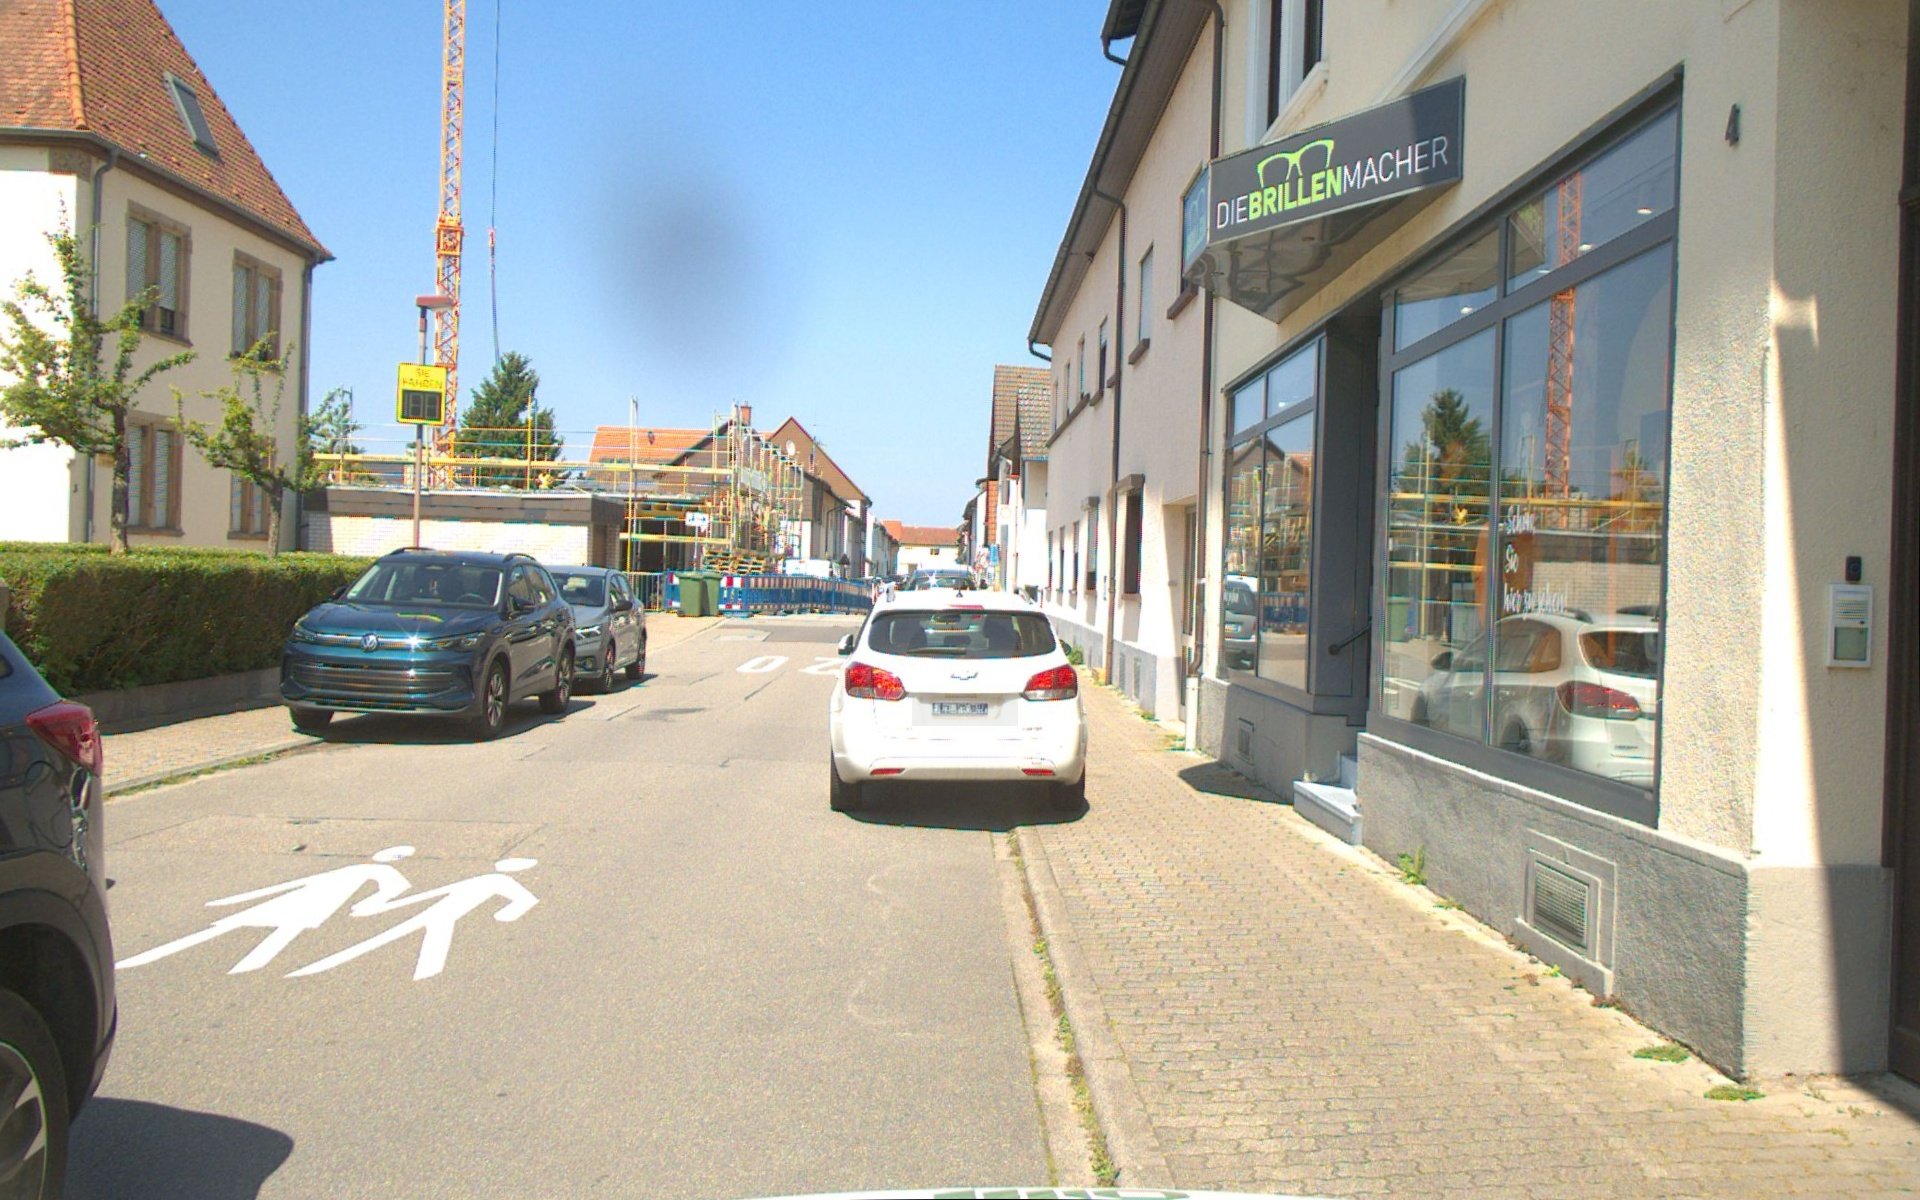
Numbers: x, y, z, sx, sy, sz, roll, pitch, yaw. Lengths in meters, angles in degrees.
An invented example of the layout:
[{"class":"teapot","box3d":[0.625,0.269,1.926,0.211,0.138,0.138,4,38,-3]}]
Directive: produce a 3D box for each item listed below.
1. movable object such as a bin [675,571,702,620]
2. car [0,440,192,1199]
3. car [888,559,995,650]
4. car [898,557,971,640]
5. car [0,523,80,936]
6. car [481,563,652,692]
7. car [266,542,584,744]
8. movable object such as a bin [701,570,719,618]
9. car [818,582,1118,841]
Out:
[{"class":"movable object such as a bin","box3d":[-6.660,-0.110,40.634,0.610,1.175,0.676,1,1,-8]},{"class":"car","box3d":[-2.618,0.561,1.529,1.843,1.697,4.153,2,1,0]},{"class":"car","box3d":[-0.420,0.038,32.081,1.847,1.583,3.892,-2,1,-4]},{"class":"car","box3d":[-0.583,-0.080,37.417,1.532,1.641,3.543,2,3,-1]},{"class":"car","box3d":[-4.605,0.525,5.288,1.604,1.657,3.767,2,1,-1]},{"class":"car","box3d":[-5.000,0.311,21.427,1.407,1.500,3.785,1,0,-2]},{"class":"car","box3d":[-4.991,0.336,16.064,1.789,1.659,4.216,2,1,-2]},{"class":"movable object such as a bin","box3d":[-6.217,-0.143,41.123,0.423,1.175,0.363,1,1,-11]},{"class":"car","box3d":[-0.122,0.683,12.456,1.850,1.569,4.238,2,1,-5]}]
